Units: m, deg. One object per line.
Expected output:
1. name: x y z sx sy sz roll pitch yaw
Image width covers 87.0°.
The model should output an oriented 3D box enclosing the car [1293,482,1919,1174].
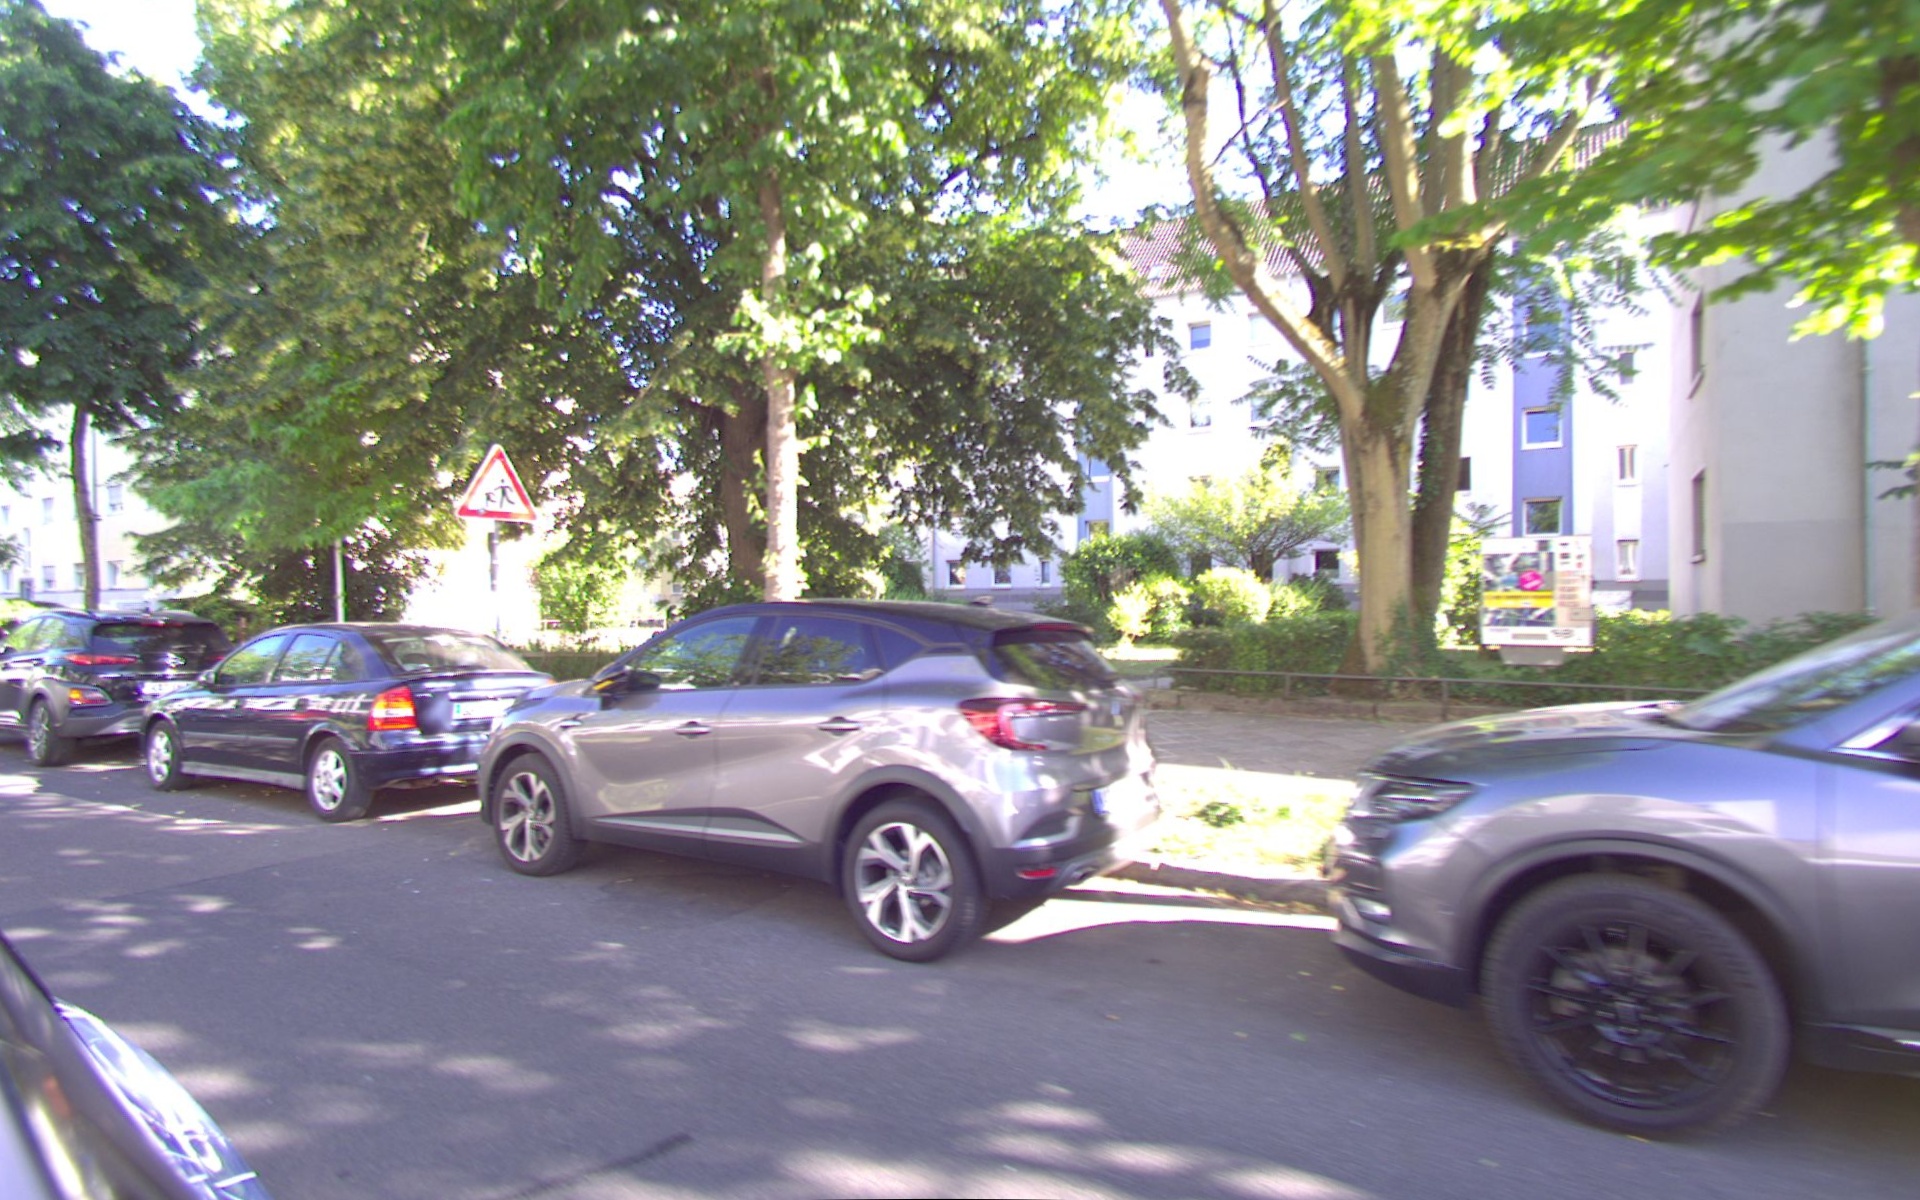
1. car: 3.575 0.556 2.778 4.797 1.701 1.755 -1 -1 31

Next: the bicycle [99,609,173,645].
1. bicycle: -29.768 0.951 36.590 0.774 1.235 1.939 -1 1 29

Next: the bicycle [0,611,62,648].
1. bicycle: -32.701 1.024 35.418 0.515 1.235 1.807 -1 1 33

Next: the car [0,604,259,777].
1. car: -9.778 0.864 11.271 4.468 1.589 1.692 -1 -1 33

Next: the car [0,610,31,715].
1. car: -15.829 0.920 15.229 4.053 1.516 1.642 -1 -1 31

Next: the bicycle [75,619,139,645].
1. bicycle: -31.392 1.161 37.253 0.583 0.876 1.696 -1 1 33

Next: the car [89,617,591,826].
1. car: -5.340 0.832 8.568 4.464 1.363 1.772 -1 -1 31

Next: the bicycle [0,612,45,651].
1. bicycle: -31.360 1.033 33.405 0.514 1.235 1.628 -1 0 22

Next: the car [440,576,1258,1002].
1. car: -0.805 0.704 5.616 4.406 1.543 1.755 -1 0 33

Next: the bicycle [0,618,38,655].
1. bicycle: -28.714 1.098 30.754 1.927 1.069 0.568 0 0 33
